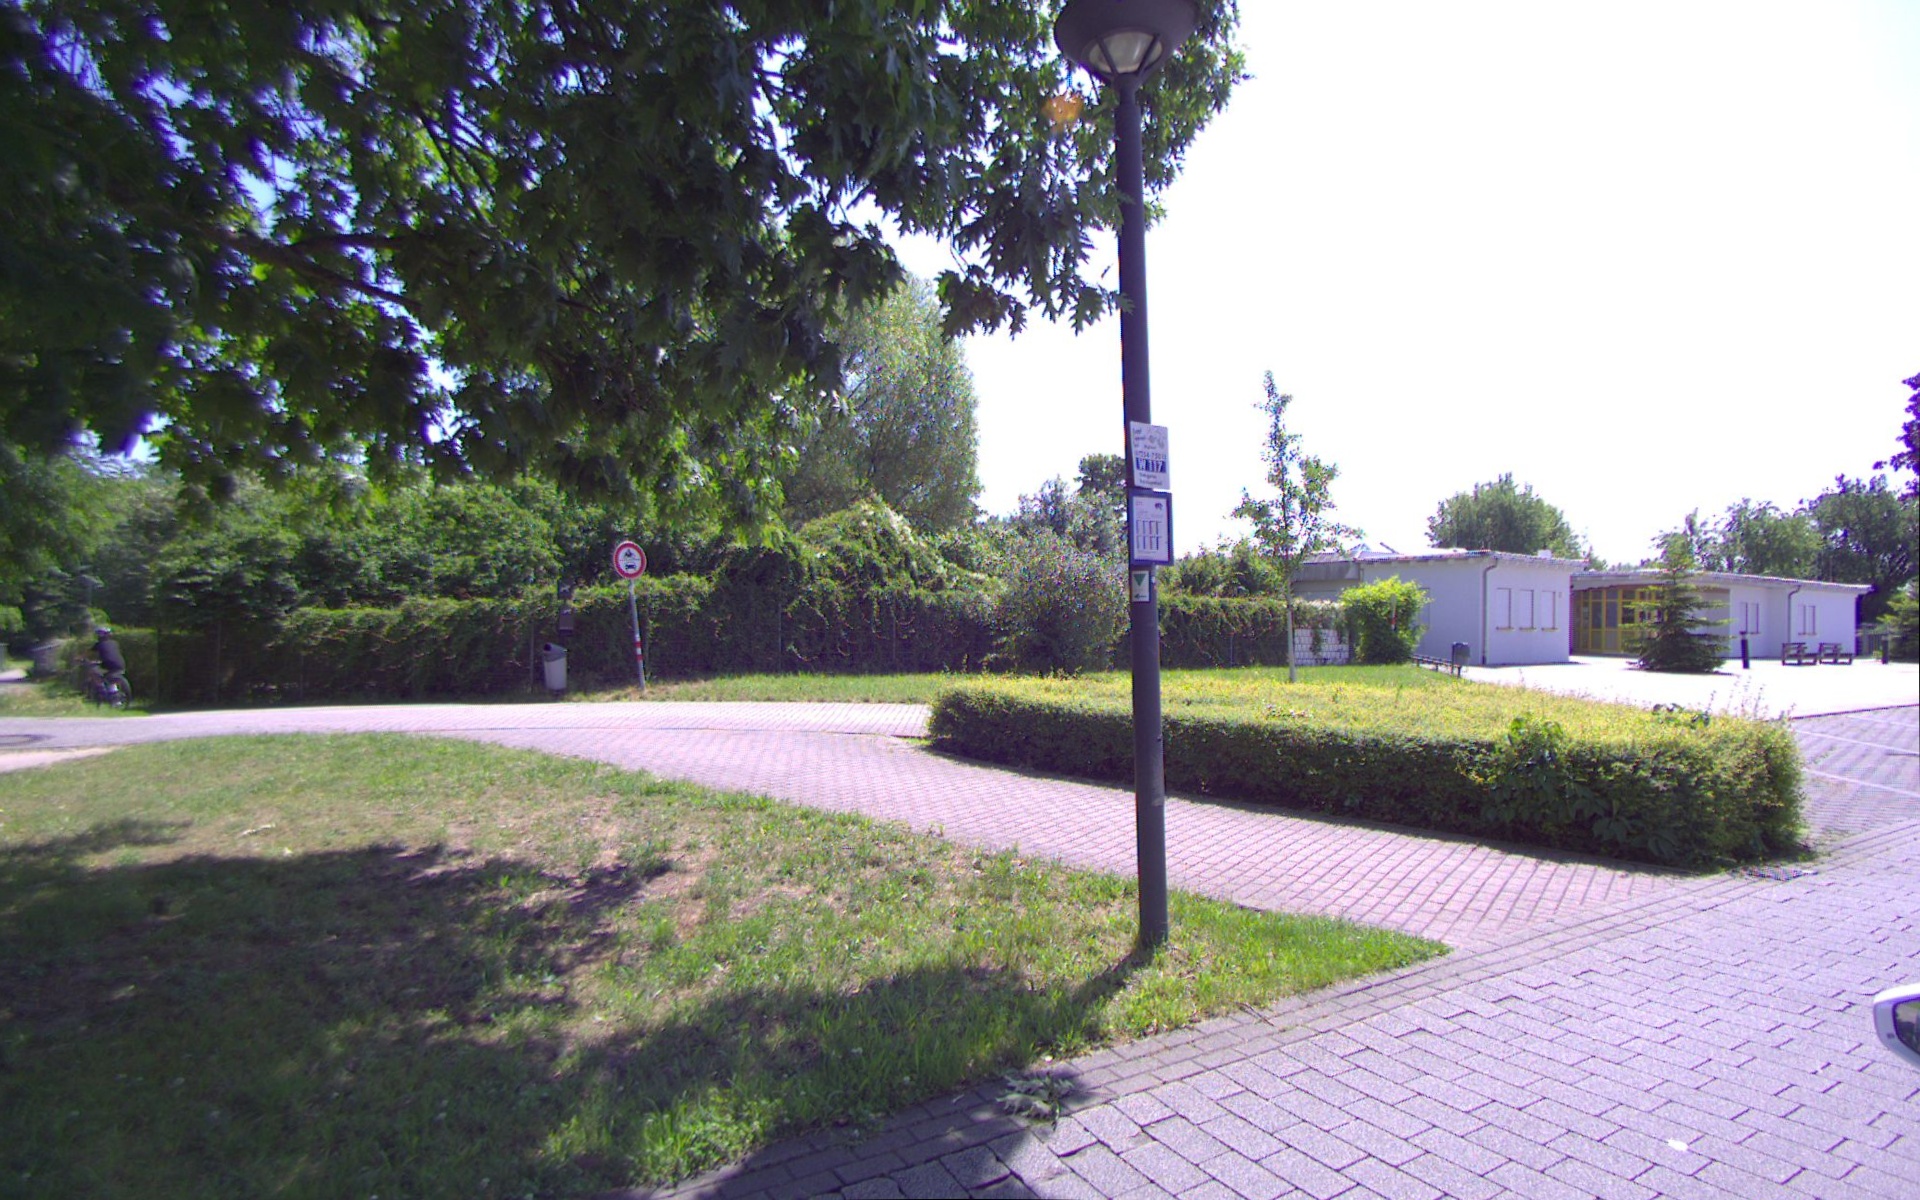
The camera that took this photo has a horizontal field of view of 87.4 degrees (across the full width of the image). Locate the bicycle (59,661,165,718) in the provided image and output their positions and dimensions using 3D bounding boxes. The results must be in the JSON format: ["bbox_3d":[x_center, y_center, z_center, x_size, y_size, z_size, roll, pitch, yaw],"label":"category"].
[{"bbox_3d":[-14.990,1.566,17.757,1.587,0.941,0.599,0,-1,14],"label":"bicycle"}]

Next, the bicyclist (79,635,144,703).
[{"bbox_3d":[-15.002,1.205,17.770,0.635,1.180,0.599,0,-1,14],"label":"bicyclist"}]
